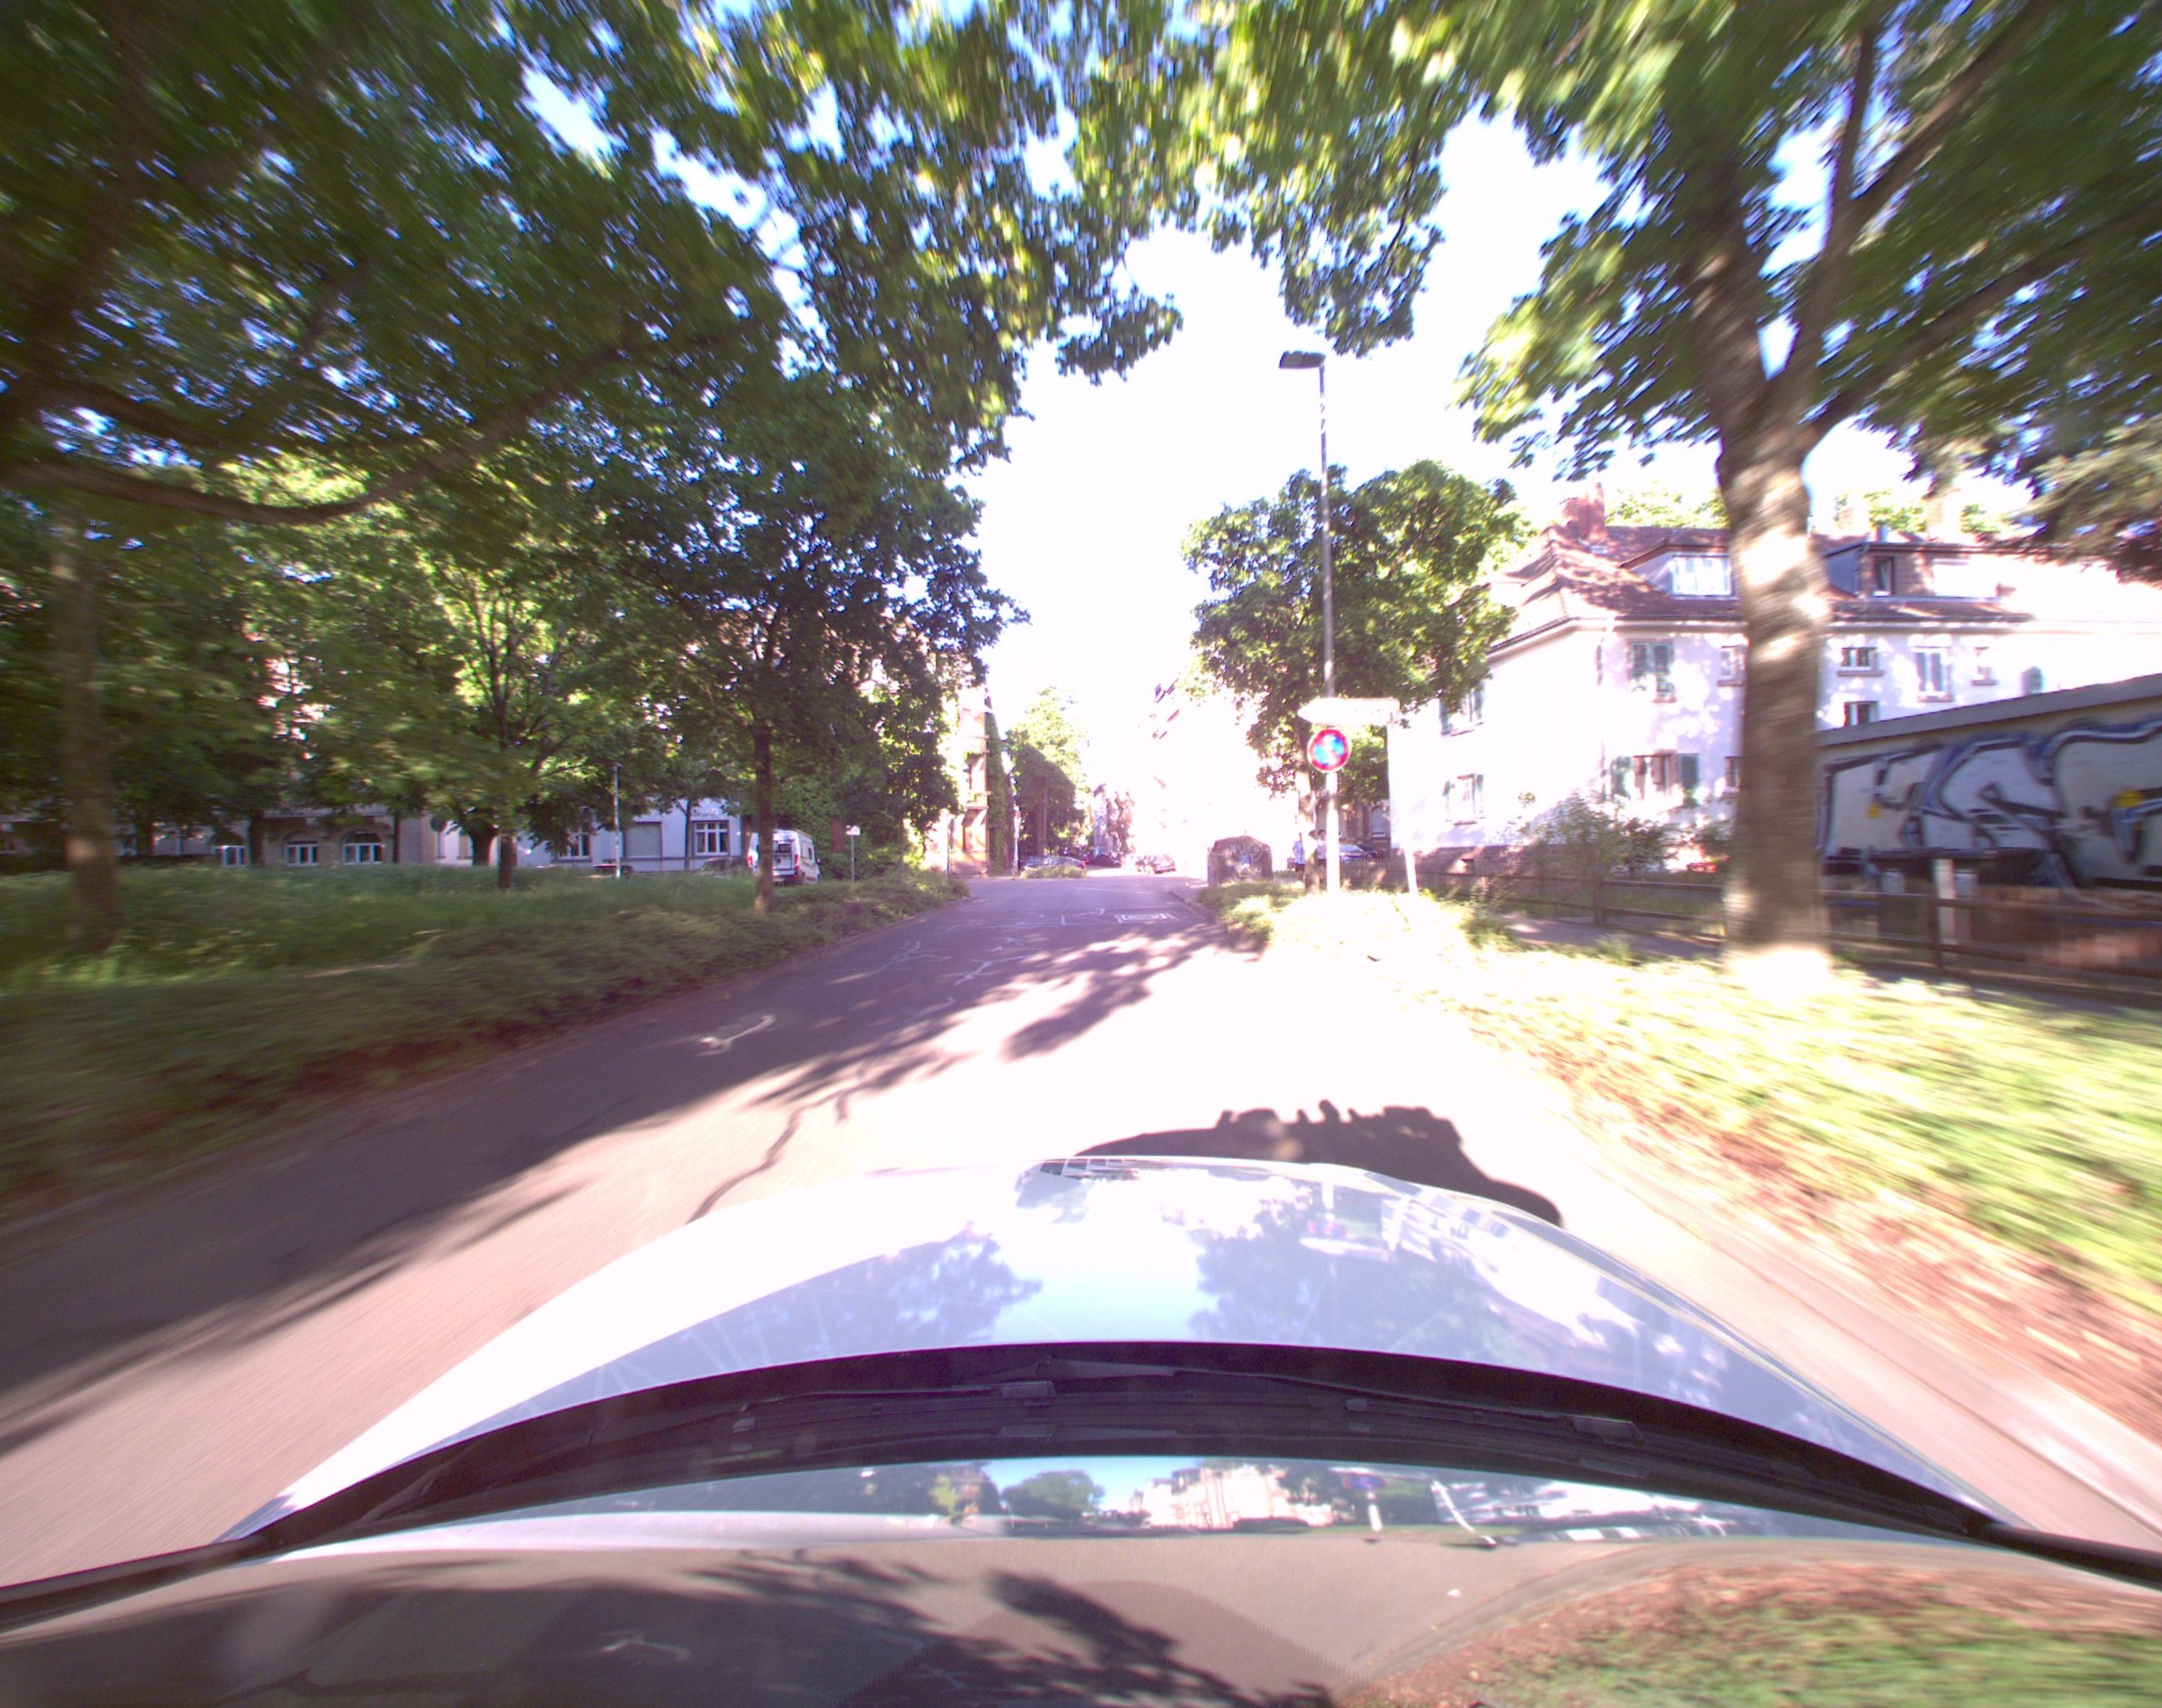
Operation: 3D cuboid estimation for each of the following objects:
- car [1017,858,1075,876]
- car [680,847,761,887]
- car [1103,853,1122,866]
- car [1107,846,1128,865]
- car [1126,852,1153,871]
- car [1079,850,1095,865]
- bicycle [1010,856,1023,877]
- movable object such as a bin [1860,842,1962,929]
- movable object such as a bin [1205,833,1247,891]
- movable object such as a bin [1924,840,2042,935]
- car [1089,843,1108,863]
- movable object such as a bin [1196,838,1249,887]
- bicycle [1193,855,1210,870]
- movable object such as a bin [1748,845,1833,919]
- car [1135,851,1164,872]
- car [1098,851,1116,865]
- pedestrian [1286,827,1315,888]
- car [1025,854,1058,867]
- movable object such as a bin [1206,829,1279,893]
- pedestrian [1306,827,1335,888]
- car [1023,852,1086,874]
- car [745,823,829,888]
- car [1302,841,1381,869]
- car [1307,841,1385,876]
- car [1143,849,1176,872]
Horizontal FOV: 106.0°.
[{"bbox_3d":[-2.959,1.049,68.586,4.828,1.435,1.706,-1,0,-6],"label":"car"},{"bbox_3d":[-15.397,0.543,35.029,1.970,1.575,4.289,0,0,-7],"label":"car"},{"bbox_3d":[3.636,0.625,95.178,1.799,1.514,3.994,-1,0,-4],"label":"car"},{"bbox_3d":[3.843,0.190,86.721,1.799,2.004,3.994,-1,0,-4],"label":"car"},{"bbox_3d":[4.988,0.608,69.766,1.734,1.581,3.994,-1,0,-4],"label":"car"},{"bbox_3d":[0.964,0.591,129.223,2.162,2.237,4.784,-1,0,-4],"label":"car"},{"bbox_3d":[-4.154,0.787,52.126,0.560,1.268,1.604,-2,0,4],"label":"bicycle"},{"bbox_3d":[10.401,0.381,10.223,0.612,1.029,0.595,-3,-1,0],"label":"movable object such as a bin"},{"bbox_3d":[4.755,0.253,26.736,1.143,1.827,1.386,-1,-1,1],"label":"movable object such as a bin"},{"bbox_3d":[10.387,0.375,9.400,0.603,1.029,0.641,-3,-1,0],"label":"movable object such as a bin"},{"bbox_3d":[2.360,-0.130,112.166,2.162,2.690,4.784,-1,0,-4],"label":"car"},{"bbox_3d":[4.910,0.291,28.387,1.580,1.657,1.640,-1,0,1],"label":"movable object such as a bin"},{"bbox_3d":[8.094,0.578,54.654,0.515,0.998,1.568,0,0,-16],"label":"bicycle"},{"bbox_3d":[10.454,0.407,12.016,0.641,1.029,0.645,-3,-1,0],"label":"movable object such as a bin"},{"bbox_3d":[5.387,0.575,64.256,1.734,1.581,3.994,-1,0,-4],"label":"car"},{"bbox_3d":[3.218,0.508,101.900,1.799,1.679,3.994,-1,0,-4],"label":"car"},{"bbox_3d":[6.897,0.117,25.606,0.670,1.894,0.895,-1,-1,2],"label":"pedestrian"},{"bbox_3d":[-4.782,0.786,98.067,3.796,1.575,1.706,-1,0,-6],"label":"car"},{"bbox_3d":[4.821,0.195,24.485,1.914,1.853,1.394,-1,-1,1],"label":"movable object such as a bin"},{"bbox_3d":[7.690,0.115,26.143,0.640,1.894,1.019,-1,-1,2],"label":"pedestrian"},{"bbox_3d":[-1.872,0.639,56.203,4.237,1.435,1.996,-1,0,-6],"label":"car"},{"bbox_3d":[-12.802,0.088,35.882,2.229,2.614,5.617,0,0,-7],"label":"car"},{"bbox_3d":[15.714,0.037,49.143,4.243,1.622,1.730,-1,1,-9],"label":"car"},{"bbox_3d":[12.474,0.257,38.613,1.992,1.556,3.988,-1,-2,-8],"label":"car"},{"bbox_3d":[5.596,0.444,58.264,1.734,1.581,3.994,-1,0,-4],"label":"car"}]
